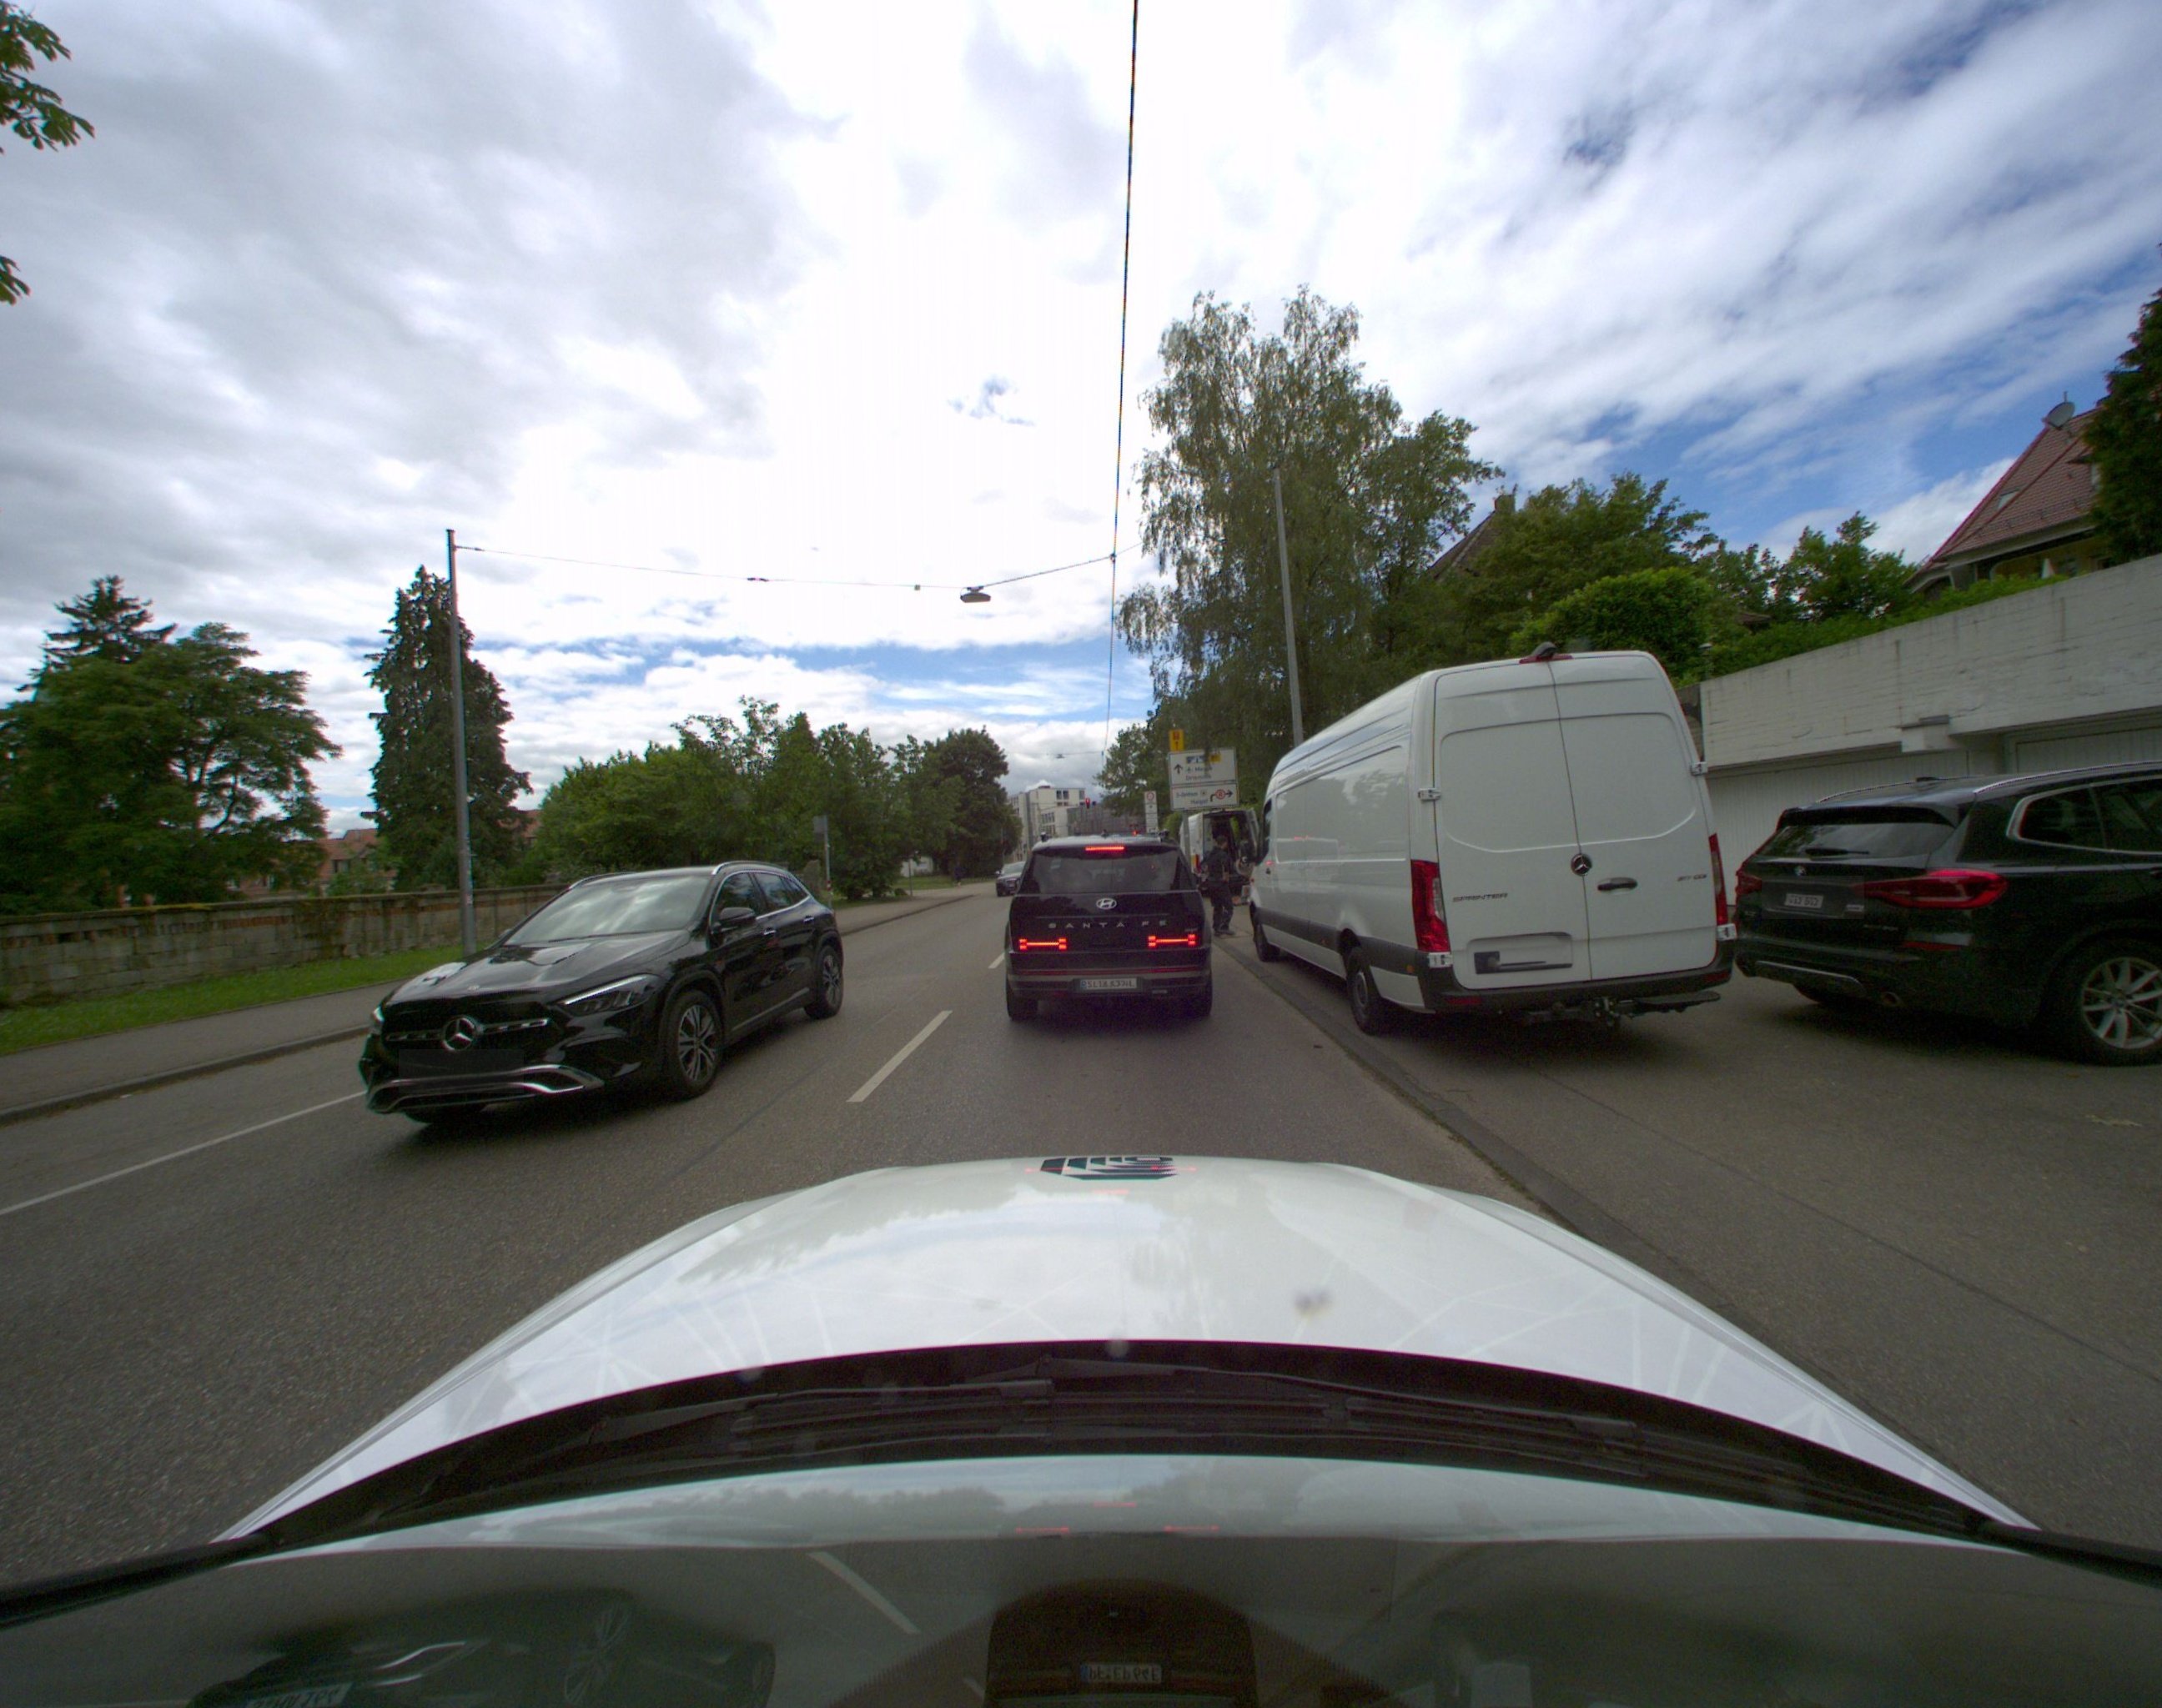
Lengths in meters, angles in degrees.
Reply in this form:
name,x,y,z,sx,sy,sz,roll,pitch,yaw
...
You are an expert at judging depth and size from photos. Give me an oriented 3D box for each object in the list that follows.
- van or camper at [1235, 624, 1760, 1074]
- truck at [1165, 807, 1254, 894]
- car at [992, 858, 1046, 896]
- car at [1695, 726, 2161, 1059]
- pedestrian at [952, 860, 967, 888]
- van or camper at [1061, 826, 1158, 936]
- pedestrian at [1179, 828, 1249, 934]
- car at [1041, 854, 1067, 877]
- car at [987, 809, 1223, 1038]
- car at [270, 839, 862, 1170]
name,x,y,z,sx,sy,sz,roll,pitch,yaw
van or camper,3.128,-0.026,8.193,1.986,2.620,6.543,-3,0,2
truck,4.291,-0.069,28.022,1.937,2.561,5.213,-5,-1,-1
car,-2.727,1.003,36.832,1.852,1.453,4.112,-6,0,2
car,6.857,0.129,5.224,4.398,1.750,1.739,-3,0,3
pedestrian,-7.617,1.232,51.061,0.737,1.715,0.791,-3,0,-5
van or camper,0.611,0.511,17.607,1.748,2.013,4.002,-3,0,2
pedestrian,2.369,0.470,14.518,0.877,1.797,0.751,-3,0,-39
car,-2.102,0.885,65.034,1.779,1.653,4.120,-6,0,0
car,0.261,0.571,8.665,1.883,1.819,4.002,-2,0,2
car,-3.435,0.836,6.659,1.852,1.657,4.307,-6,0,2
